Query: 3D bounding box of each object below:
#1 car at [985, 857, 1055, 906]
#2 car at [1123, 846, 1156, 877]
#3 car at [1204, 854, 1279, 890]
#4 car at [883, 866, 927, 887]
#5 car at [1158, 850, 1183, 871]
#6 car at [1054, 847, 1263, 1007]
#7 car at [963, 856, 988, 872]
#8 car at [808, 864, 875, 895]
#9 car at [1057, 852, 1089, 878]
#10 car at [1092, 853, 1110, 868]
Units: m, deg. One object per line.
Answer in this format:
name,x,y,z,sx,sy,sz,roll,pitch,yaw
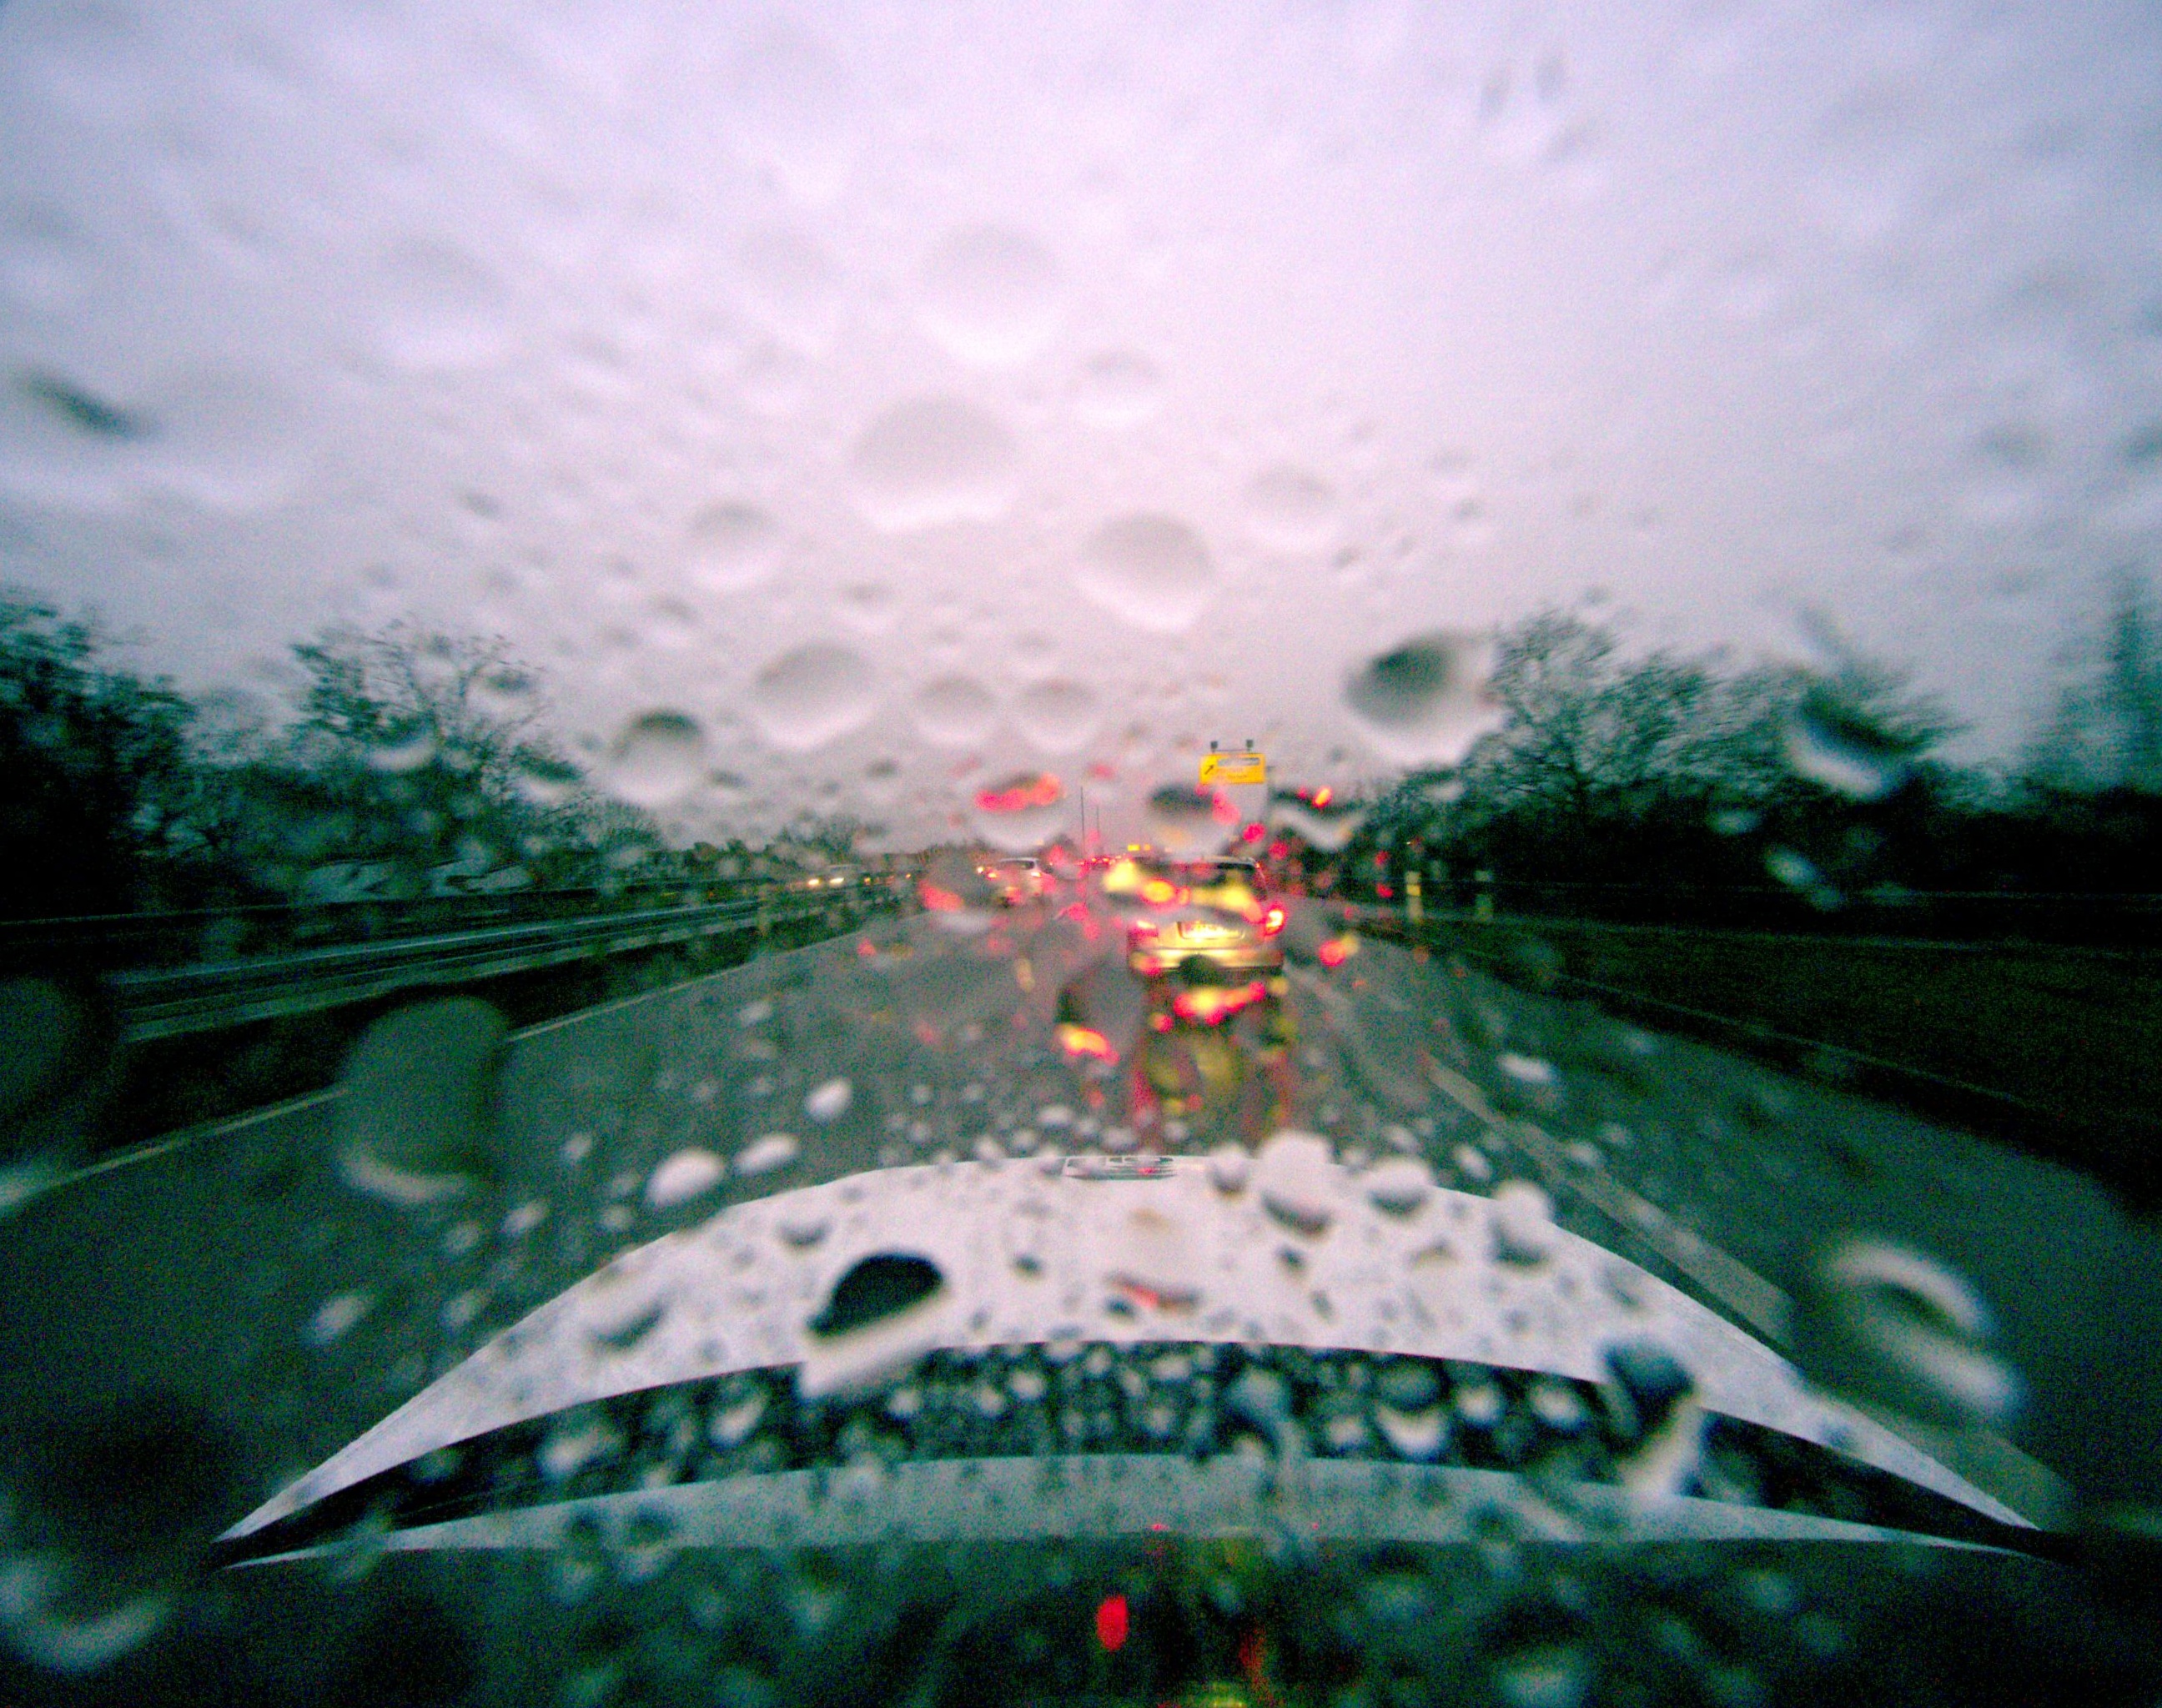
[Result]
car,-1.927,0.851,26.778,1.716,1.440,4.229,-1,0,3
car,3.537,0.452,50.182,1.890,1.767,4.311,-1,0,3
car,6.467,0.682,33.214,1.990,1.345,3.993,-2,0,-5
car,-13.551,1.725,62.917,1.775,1.404,4.322,-2,0,10
car,6.960,0.461,63.303,1.781,1.545,4.006,-2,0,5
car,0.889,0.726,10.042,1.985,1.500,4.142,-2,0,4
car,-10.795,0.994,83.458,1.779,1.564,4.853,-2,0,1
car,-13.514,1.399,46.188,1.829,1.562,4.693,-1,0,8
car,-0.536,0.693,52.187,1.988,1.601,4.306,0,0,-2
car,2.202,0.666,88.245,1.782,1.545,4.003,-1,0,3
